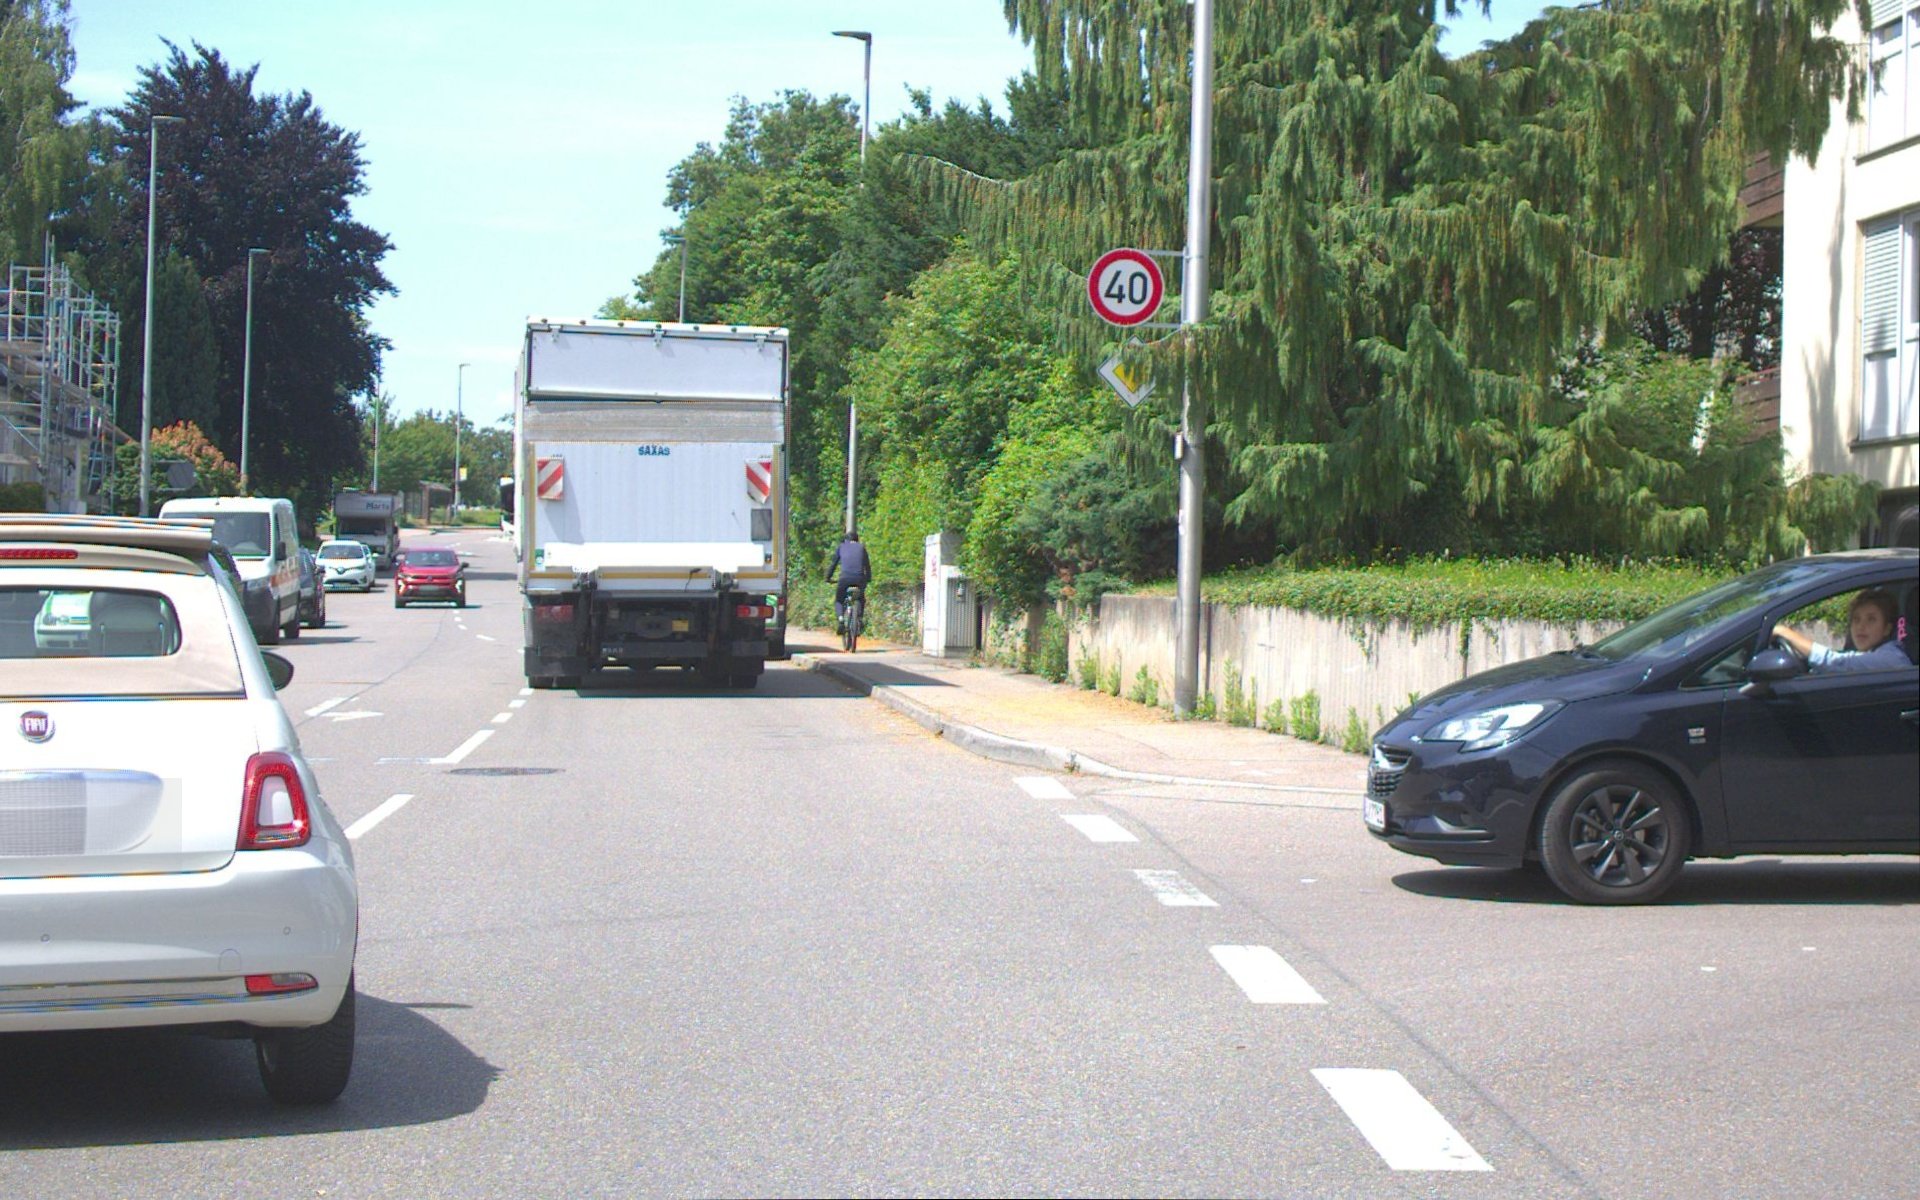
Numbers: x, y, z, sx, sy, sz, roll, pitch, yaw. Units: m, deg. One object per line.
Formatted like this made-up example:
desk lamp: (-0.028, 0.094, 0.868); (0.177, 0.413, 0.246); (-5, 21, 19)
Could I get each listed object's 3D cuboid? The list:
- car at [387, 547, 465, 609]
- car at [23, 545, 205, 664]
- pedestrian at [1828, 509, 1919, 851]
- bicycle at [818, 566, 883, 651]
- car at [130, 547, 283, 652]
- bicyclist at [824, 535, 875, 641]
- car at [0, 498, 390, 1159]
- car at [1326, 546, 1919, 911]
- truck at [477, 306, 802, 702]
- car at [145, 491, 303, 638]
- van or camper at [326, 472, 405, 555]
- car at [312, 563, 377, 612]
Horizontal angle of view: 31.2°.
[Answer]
car: (-13.956, -0.595, 89.975); (1.833, 1.529, 4.001); (2, 0, -7)
car: (-10.546, 0.026, 43.056); (1.804, 1.393, 4.001); (1, 1, -8)
pedestrian: (4.721, 0.387, 17.116); (0.697, 1.666, 0.569); (2, 1, 18)
bicycle: (-1.512, 0.106, 47.099); (0.668, 1.100, 2.426); (2, 1, -6)
car: (-10.675, -0.035, 48.914); (1.804, 1.393, 3.969); (1, 1, -8)
bicyclist: (-1.516, -0.171, 46.982); (0.588, 1.408, 0.742); (2, 1, -6)
car: (-2.852, 0.517, 9.986); (1.724, 1.555, 4.001); (-1, 1, -19)
car: (3.651, 0.515, 14.723); (3.933, 1.453, 1.659); (0, 1, -2)
truck: (-3.561, -0.959, 36.806); (3.068, 3.761, 7.869); (0, 1, -7)
car: (-11.594, -0.578, 54.497); (2.036, 2.192, 5.584); (1, 1, -8)
van or camper: (-22.229, -3.224, 128.742); (2.265, 2.952, 5.889); (2, 1, -4)
car: (-18.913, -0.397, 105.703); (1.477, 1.489, 3.080); (1, 1, -1)
